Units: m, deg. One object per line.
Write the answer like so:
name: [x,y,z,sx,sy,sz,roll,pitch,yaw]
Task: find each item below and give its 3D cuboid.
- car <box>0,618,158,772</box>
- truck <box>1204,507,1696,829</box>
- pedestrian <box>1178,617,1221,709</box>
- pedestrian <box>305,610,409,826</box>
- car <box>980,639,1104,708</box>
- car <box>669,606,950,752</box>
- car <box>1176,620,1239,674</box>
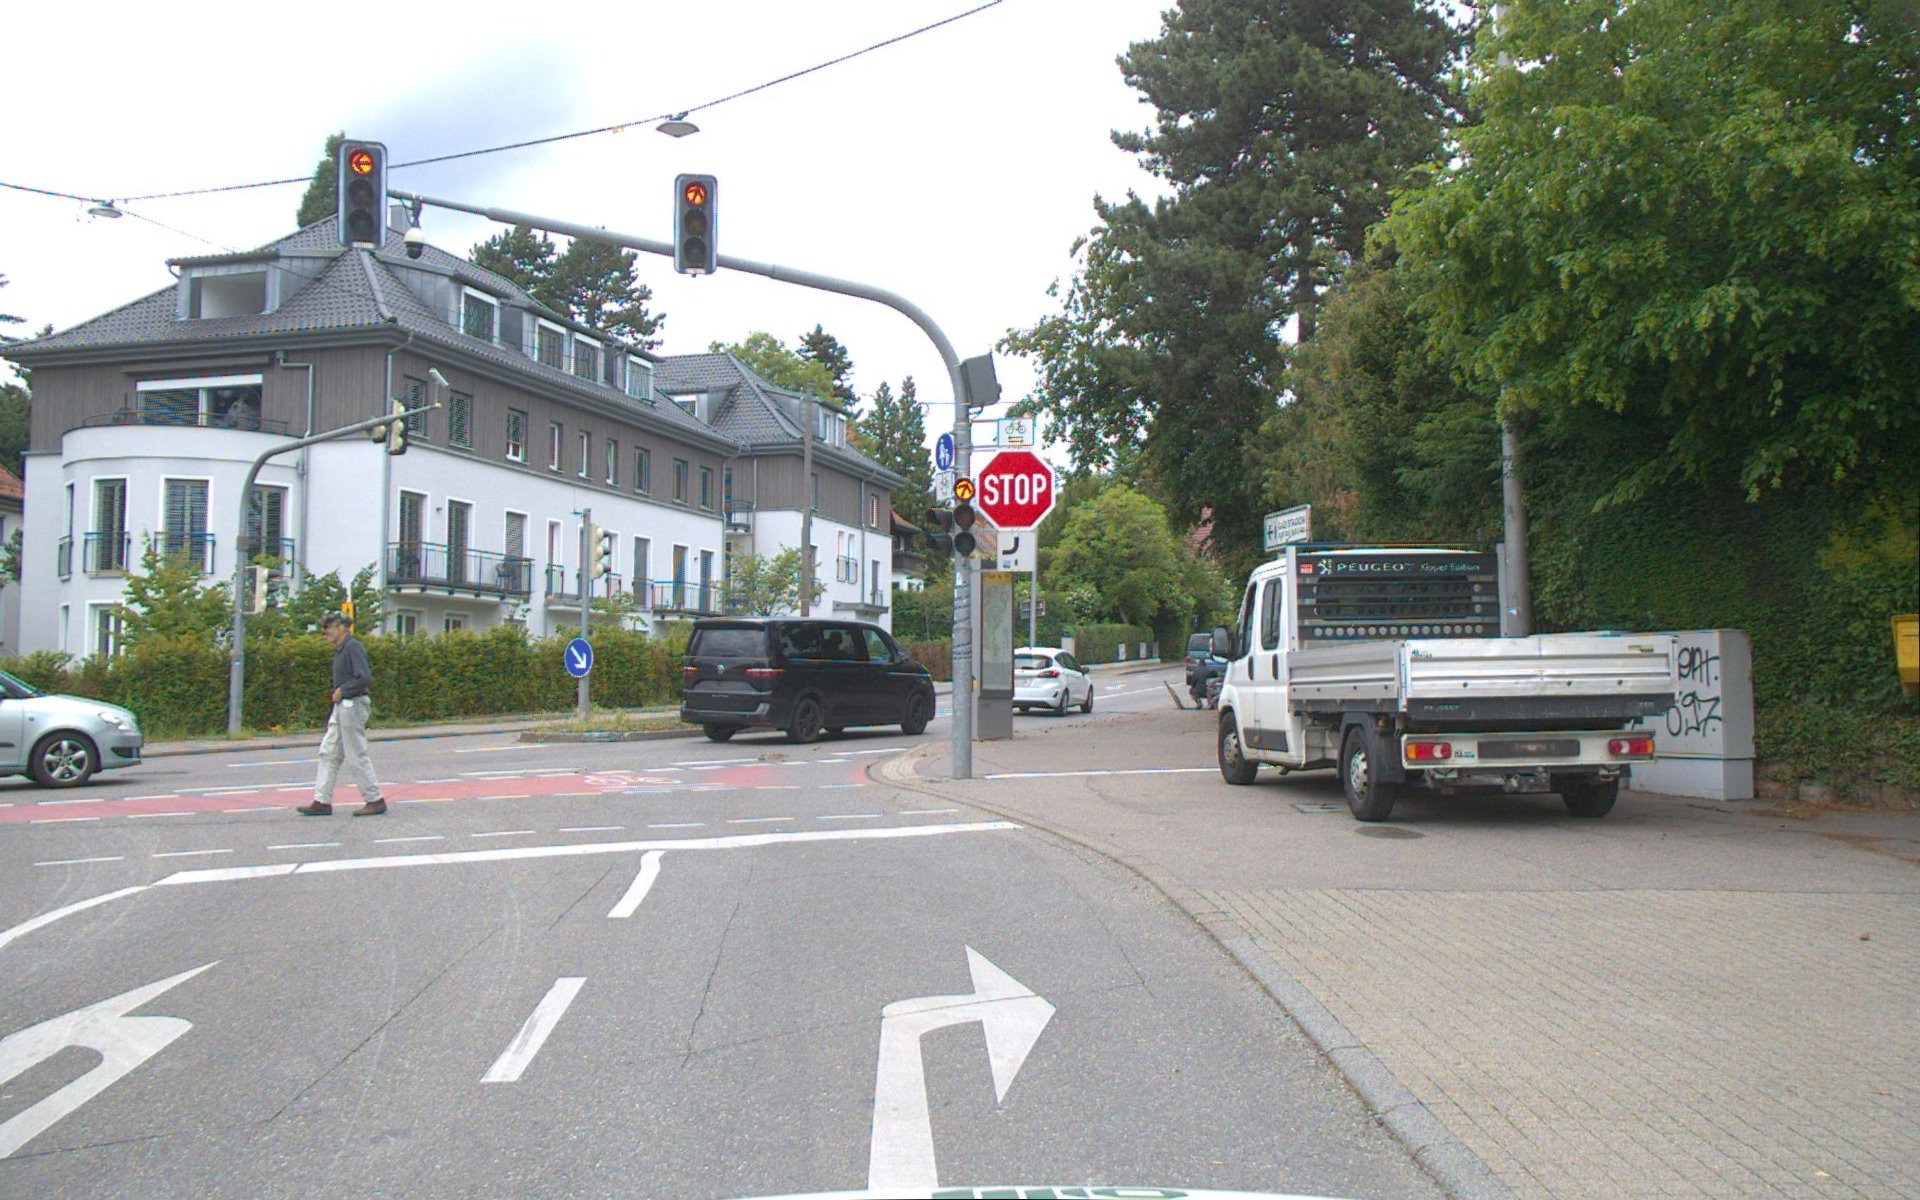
car: [-10.771,0.967,17.188,4.149,1.502,1.691,1,1,-36]
truck: [3.876,0.577,14.525,2.141,2.233,5.875,0,-2,-5]
pedestrian: [5.382,1.409,37.213,0.821,2.049,0.589,-1,-1,-3]
pedestrian: [-4.998,0.945,13.696,0.691,1.711,0.678,0,1,-32]
car: [1.892,1.648,36.931,1.889,1.407,4.002,-2,-3,15]
car: [-2.286,1.157,26.519,1.958,2.048,4.768,2,1,32]
car: [9.742,1.903,65.388,1.952,2.049,4.510,0,-3,2]
